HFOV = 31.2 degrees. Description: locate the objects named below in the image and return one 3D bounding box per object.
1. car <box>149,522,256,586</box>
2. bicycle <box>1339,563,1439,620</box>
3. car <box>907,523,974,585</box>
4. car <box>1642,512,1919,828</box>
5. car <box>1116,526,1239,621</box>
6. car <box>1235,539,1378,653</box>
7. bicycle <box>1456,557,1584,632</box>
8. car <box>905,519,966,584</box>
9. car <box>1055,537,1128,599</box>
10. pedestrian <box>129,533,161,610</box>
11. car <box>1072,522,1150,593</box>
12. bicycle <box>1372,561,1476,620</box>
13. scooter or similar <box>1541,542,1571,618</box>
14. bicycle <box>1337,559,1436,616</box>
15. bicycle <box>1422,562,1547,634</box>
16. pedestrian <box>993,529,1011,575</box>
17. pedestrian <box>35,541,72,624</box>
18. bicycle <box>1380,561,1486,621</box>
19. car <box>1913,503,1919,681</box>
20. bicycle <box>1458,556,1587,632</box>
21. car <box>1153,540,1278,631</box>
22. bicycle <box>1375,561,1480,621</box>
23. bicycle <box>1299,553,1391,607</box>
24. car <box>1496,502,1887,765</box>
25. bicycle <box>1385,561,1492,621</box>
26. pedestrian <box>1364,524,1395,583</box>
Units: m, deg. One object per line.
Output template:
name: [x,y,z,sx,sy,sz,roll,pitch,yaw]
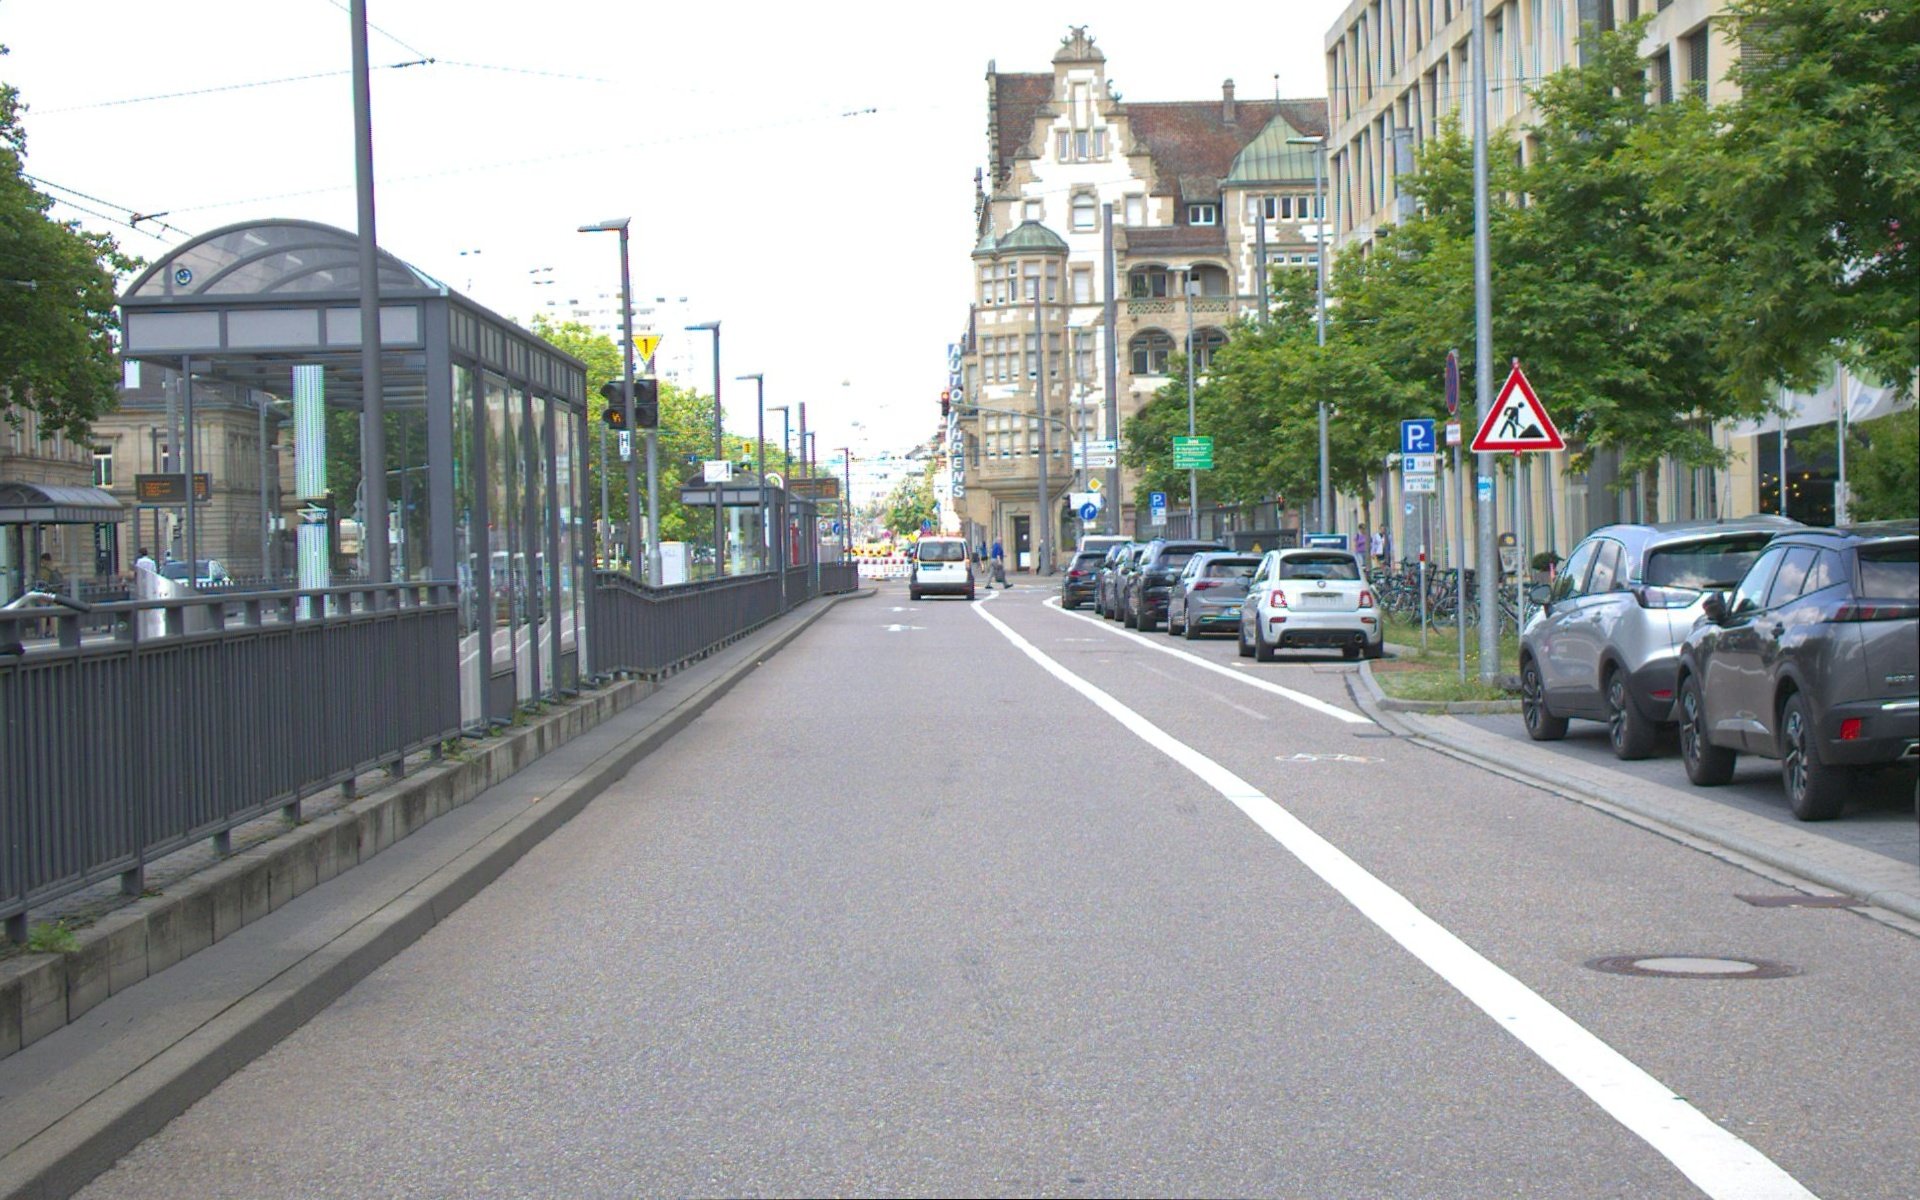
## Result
car: [-21.222,-1.278,96.533,1.993,1.699,4.821,-1,1,-1]
bicycle: [8.099,-0.164,64.953,1.824,1.027,0.432,-1,1,3]
car: [-0.580,-1.322,98.827,1.868,1.740,4.000,0,1,-1]
car: [5.107,0.301,19.246,1.685,1.543,3.927,-3,1,-1]
car: [3.953,-0.522,63.259,1.738,1.664,4.841,1,1,-3]
car: [4.631,-0.088,46.299,1.591,1.455,3.613,0,1,1]
bicycle: [8.283,-0.086,50.898,1.824,1.072,0.275,-1,1,3]
car: [-0.783,-1.539,108.714,1.868,2.013,4.000,0,1,-1]
car: [3.201,-0.809,84.116,1.443,1.465,4.093,1,1,-3]
pedestrian: [-18.172,-0.641,76.635,0.500,1.677,0.643,-2,1,0]
car: [3.901,-1.123,89.107,1.709,1.790,3.362,1,1,-2]
bicycle: [8.115,-0.168,60.144,1.752,0.983,0.326,-2,1,-1]
scooter or similar: [9.615,-0.330,55.459,0.258,1.211,1.015,-1,1,-1]
bicycle: [8.148,-0.242,65.750,1.824,1.027,0.584,-1,1,3]
bicycle: [8.114,-0.035,53.231,1.824,1.072,0.686,-1,1,3]
pedestrian: [1.477,-1.670,120.176,0.534,1.567,0.542,-3,1,-2]
pedestrian: [-17.292,-0.335,65.614,0.500,1.553,0.643,-1,1,0]
bicycle: [8.179,-0.160,59.437,1.752,0.983,0.326,-2,1,-1]
car: [5.188,0.364,13.401,1.685,1.600,4.152,-3,1,-1]
bicycle: [8.274,-0.087,50.597,1.824,1.072,0.275,-1,1,3]
car: [4.216,-0.268,57.280,1.591,1.429,4.108,1,1,-3]
bicycle: [8.123,-0.164,59.796,1.752,0.983,0.326,-2,1,-1]
bicycle: [8.002,-0.415,71.469,1.839,1.027,0.340,-3,1,-2]
car: [5.118,0.189,24.561,1.685,1.628,3.991,-4,1,-3]
bicycle: [8.221,-0.157,59.095,1.752,0.983,0.326,-2,1,-1]
pedestrian: [12.024,-1.335,98.551,0.760,1.664,0.659,-1,1,-1]
